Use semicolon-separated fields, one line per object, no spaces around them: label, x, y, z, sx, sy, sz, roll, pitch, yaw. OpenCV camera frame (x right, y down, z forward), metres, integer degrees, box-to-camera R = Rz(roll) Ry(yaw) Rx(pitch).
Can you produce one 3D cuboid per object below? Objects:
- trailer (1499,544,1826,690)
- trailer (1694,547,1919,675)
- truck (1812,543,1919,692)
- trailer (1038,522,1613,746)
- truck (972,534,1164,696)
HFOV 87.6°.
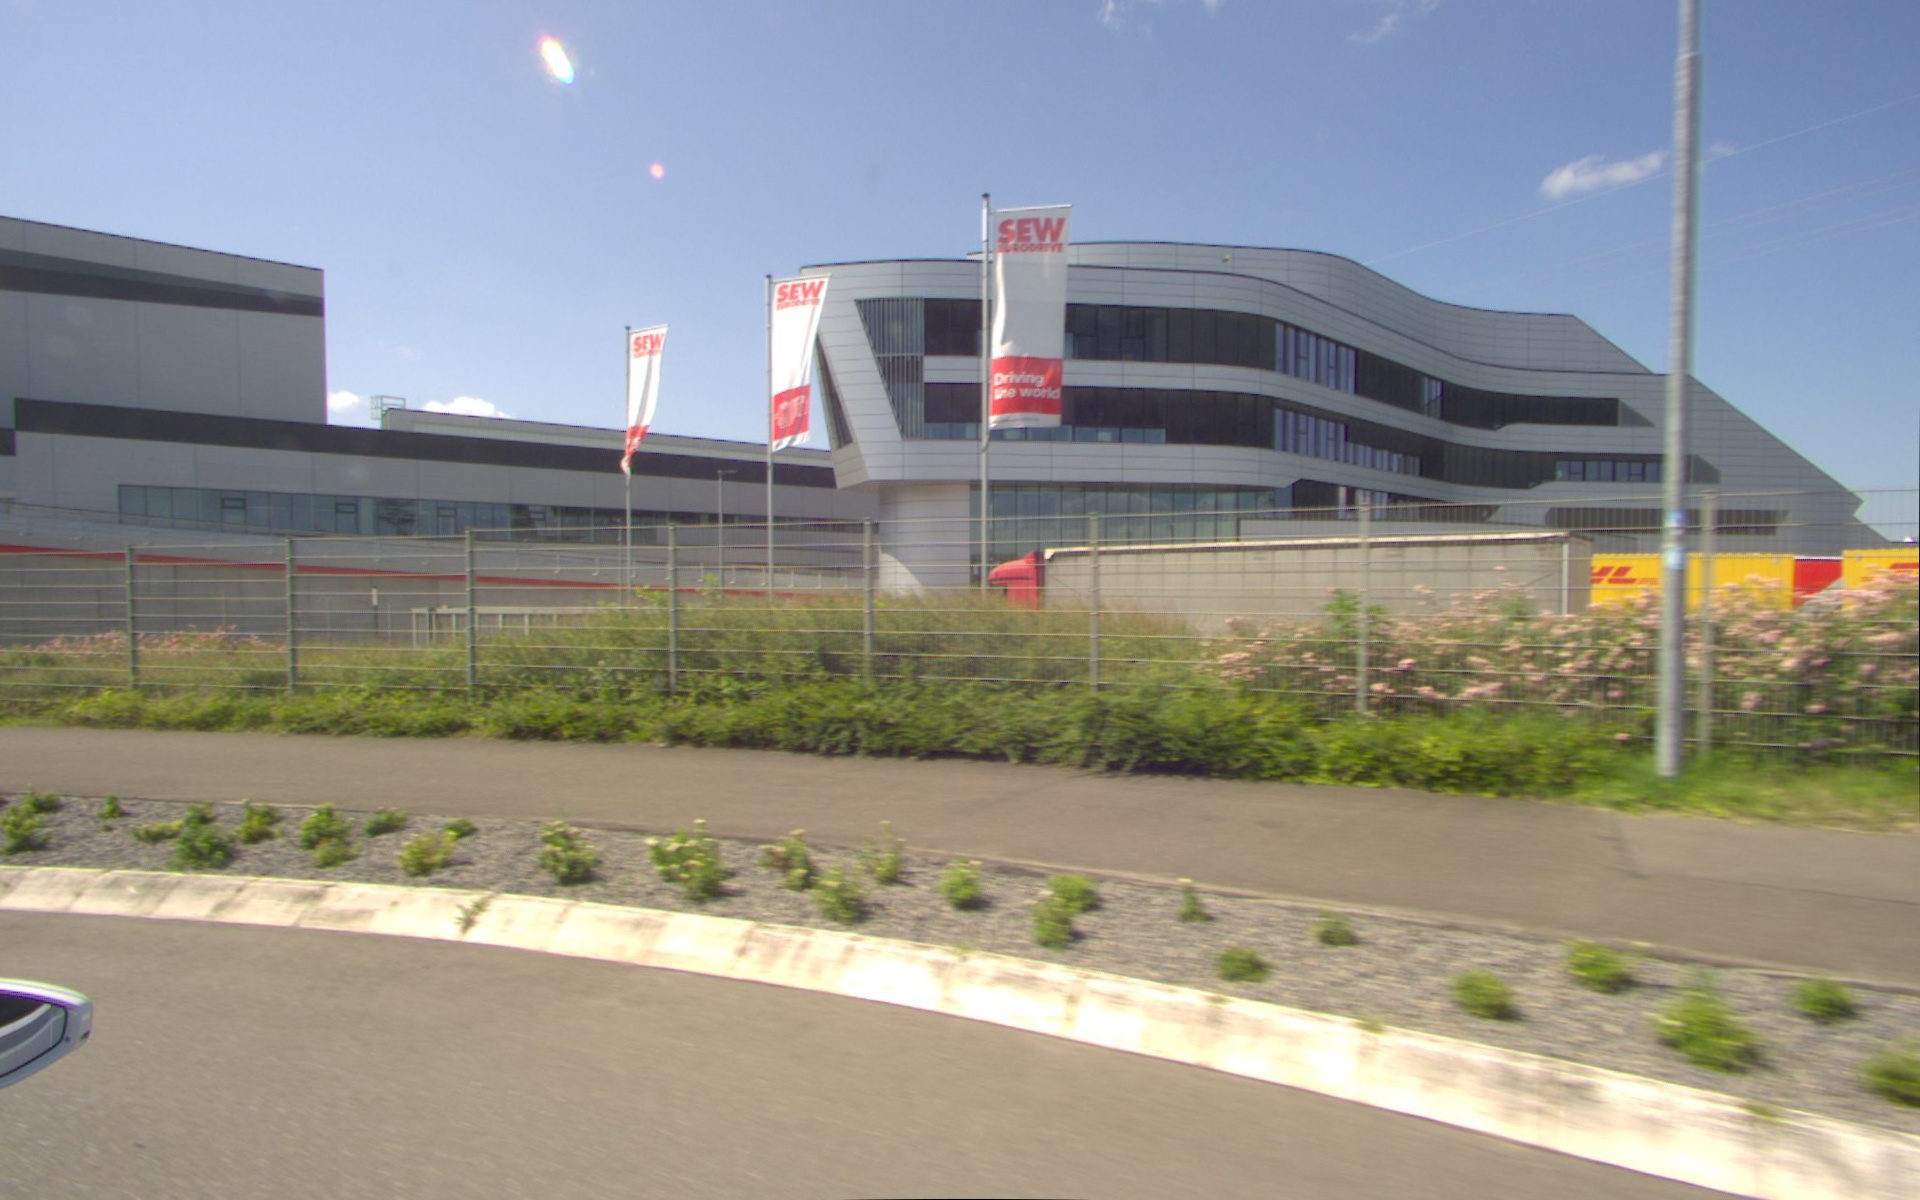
trailer;23.297;0.380;33.699;8.608;4.356;2.878;2;3;40
trailer;32.125;0.293;36.200;8.619;4.356;3.001;2;3;43
truck;30.490;0.540;27.285;10.852;4.230;2.796;2;3;44
trailer;8.323;0.494;25.804;13.903;4.499;2.741;2;3;43
truck;3.201;0.327;30.522;5.230;4.484;2.742;2;3;42
